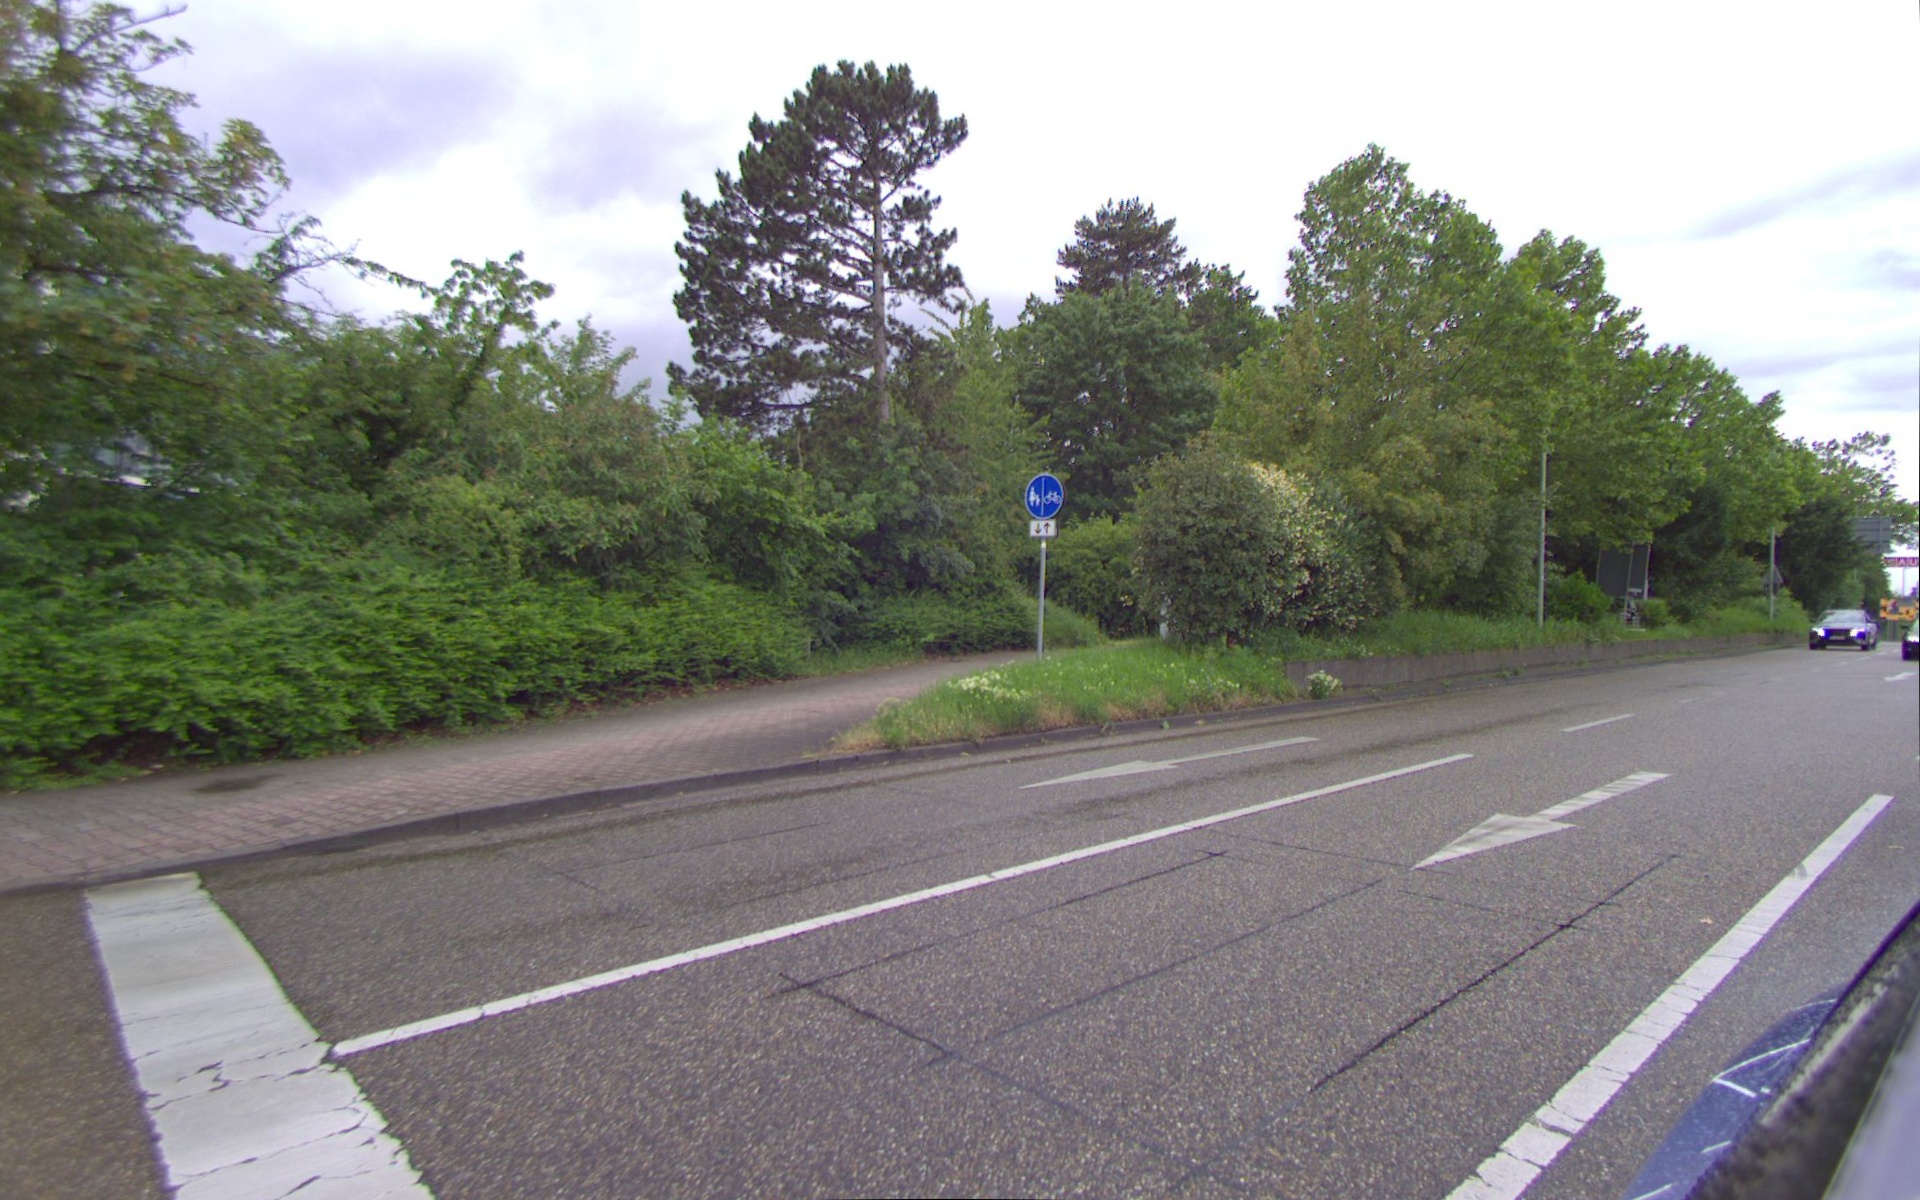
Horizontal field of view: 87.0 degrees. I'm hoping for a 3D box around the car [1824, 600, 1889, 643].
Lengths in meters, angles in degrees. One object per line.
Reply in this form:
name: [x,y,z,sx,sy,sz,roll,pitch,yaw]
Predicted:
car: [36.746,0.858,41.452,3.778,1.642,1.702,0,0,-44]
